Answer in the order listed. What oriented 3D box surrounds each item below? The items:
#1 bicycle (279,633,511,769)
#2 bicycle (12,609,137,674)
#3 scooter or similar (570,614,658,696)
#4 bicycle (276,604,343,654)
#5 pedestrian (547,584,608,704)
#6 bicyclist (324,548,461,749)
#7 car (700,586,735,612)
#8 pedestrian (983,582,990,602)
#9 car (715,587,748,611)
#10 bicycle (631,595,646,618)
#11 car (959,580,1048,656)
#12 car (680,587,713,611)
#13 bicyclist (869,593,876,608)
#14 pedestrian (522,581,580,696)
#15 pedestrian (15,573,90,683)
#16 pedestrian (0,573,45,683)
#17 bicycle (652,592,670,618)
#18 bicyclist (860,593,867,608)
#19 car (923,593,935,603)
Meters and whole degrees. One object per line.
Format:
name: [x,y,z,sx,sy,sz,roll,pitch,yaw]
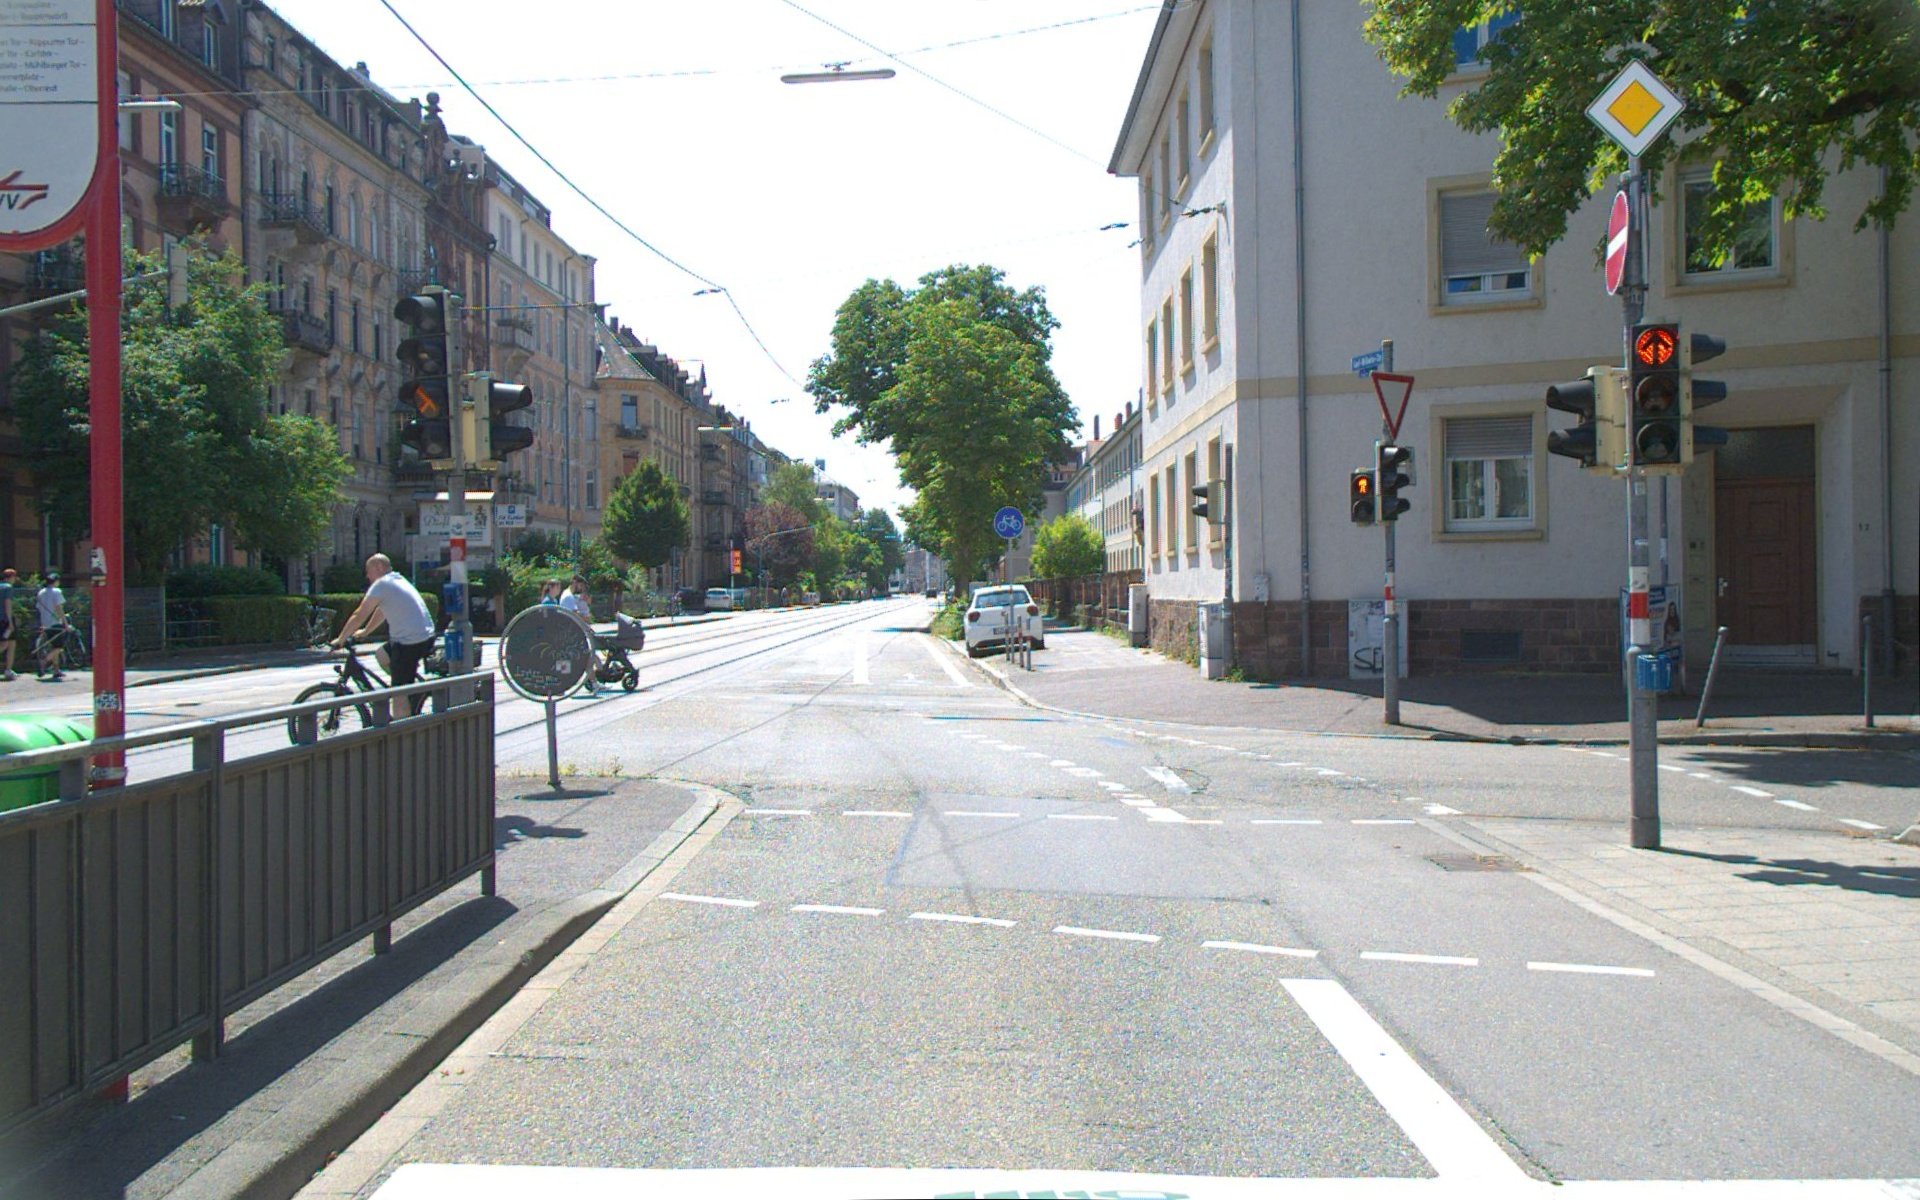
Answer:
bicycle: [-4.698,0.819,13.775,1.723,1.075,0.700,0,0,14]
bicycle: [-16.711,0.752,31.303,0.918,1.156,2.773,1,0,-2]
scooter or similar: [-5.120,0.811,24.522,1.177,1.175,0.558,1,-1,-2]
bicycle: [-15.899,0.691,40.510,0.920,1.156,2.767,1,0,-9]
pedestrian: [-5.435,0.622,23.523,0.660,1.674,0.559,1,-1,6]
bicyclist: [-4.718,0.393,13.786,0.828,1.620,0.700,0,0,14]
car: [-16.879,-0.067,115.311,1.880,1.745,3.999,1,0,-1]
pedestrian: [2.062,-0.639,129.242,0.511,1.590,0.573,-1,0,-1]
car: [-17.048,-0.037,123.572,1.880,1.745,3.999,1,0,-1]
bicycle: [-15.500,0.325,79.786,0.665,1.083,1.913,-1,0,-12]
car: [0.929,0.391,37.340,1.778,1.542,3.999,-3,0,-1]
car: [-19.679,-0.082,123.606,1.880,1.745,3.999,1,0,-1]
bicyclist: [-11.125,0.043,210.299,0.712,1.850,1.079,1,0,1]
pedestrian: [-6.061,0.560,24.524,0.660,1.674,0.559,1,-1,6]
pedestrian: [-15.740,0.475,28.714,0.799,1.854,0.873,1,1,0]
pedestrian: [-16.494,0.468,28.619,0.799,1.854,0.873,1,1,0]
bicycle: [-15.278,0.239,84.434,0.664,1.301,1.917,-1,0,-4]
bicyclist: [-12.279,0.047,210.670,0.712,1.850,1.079,1,0,1]
car: [-4.570,-0.272,246.659,1.788,1.545,3.999,1,0,-1]
